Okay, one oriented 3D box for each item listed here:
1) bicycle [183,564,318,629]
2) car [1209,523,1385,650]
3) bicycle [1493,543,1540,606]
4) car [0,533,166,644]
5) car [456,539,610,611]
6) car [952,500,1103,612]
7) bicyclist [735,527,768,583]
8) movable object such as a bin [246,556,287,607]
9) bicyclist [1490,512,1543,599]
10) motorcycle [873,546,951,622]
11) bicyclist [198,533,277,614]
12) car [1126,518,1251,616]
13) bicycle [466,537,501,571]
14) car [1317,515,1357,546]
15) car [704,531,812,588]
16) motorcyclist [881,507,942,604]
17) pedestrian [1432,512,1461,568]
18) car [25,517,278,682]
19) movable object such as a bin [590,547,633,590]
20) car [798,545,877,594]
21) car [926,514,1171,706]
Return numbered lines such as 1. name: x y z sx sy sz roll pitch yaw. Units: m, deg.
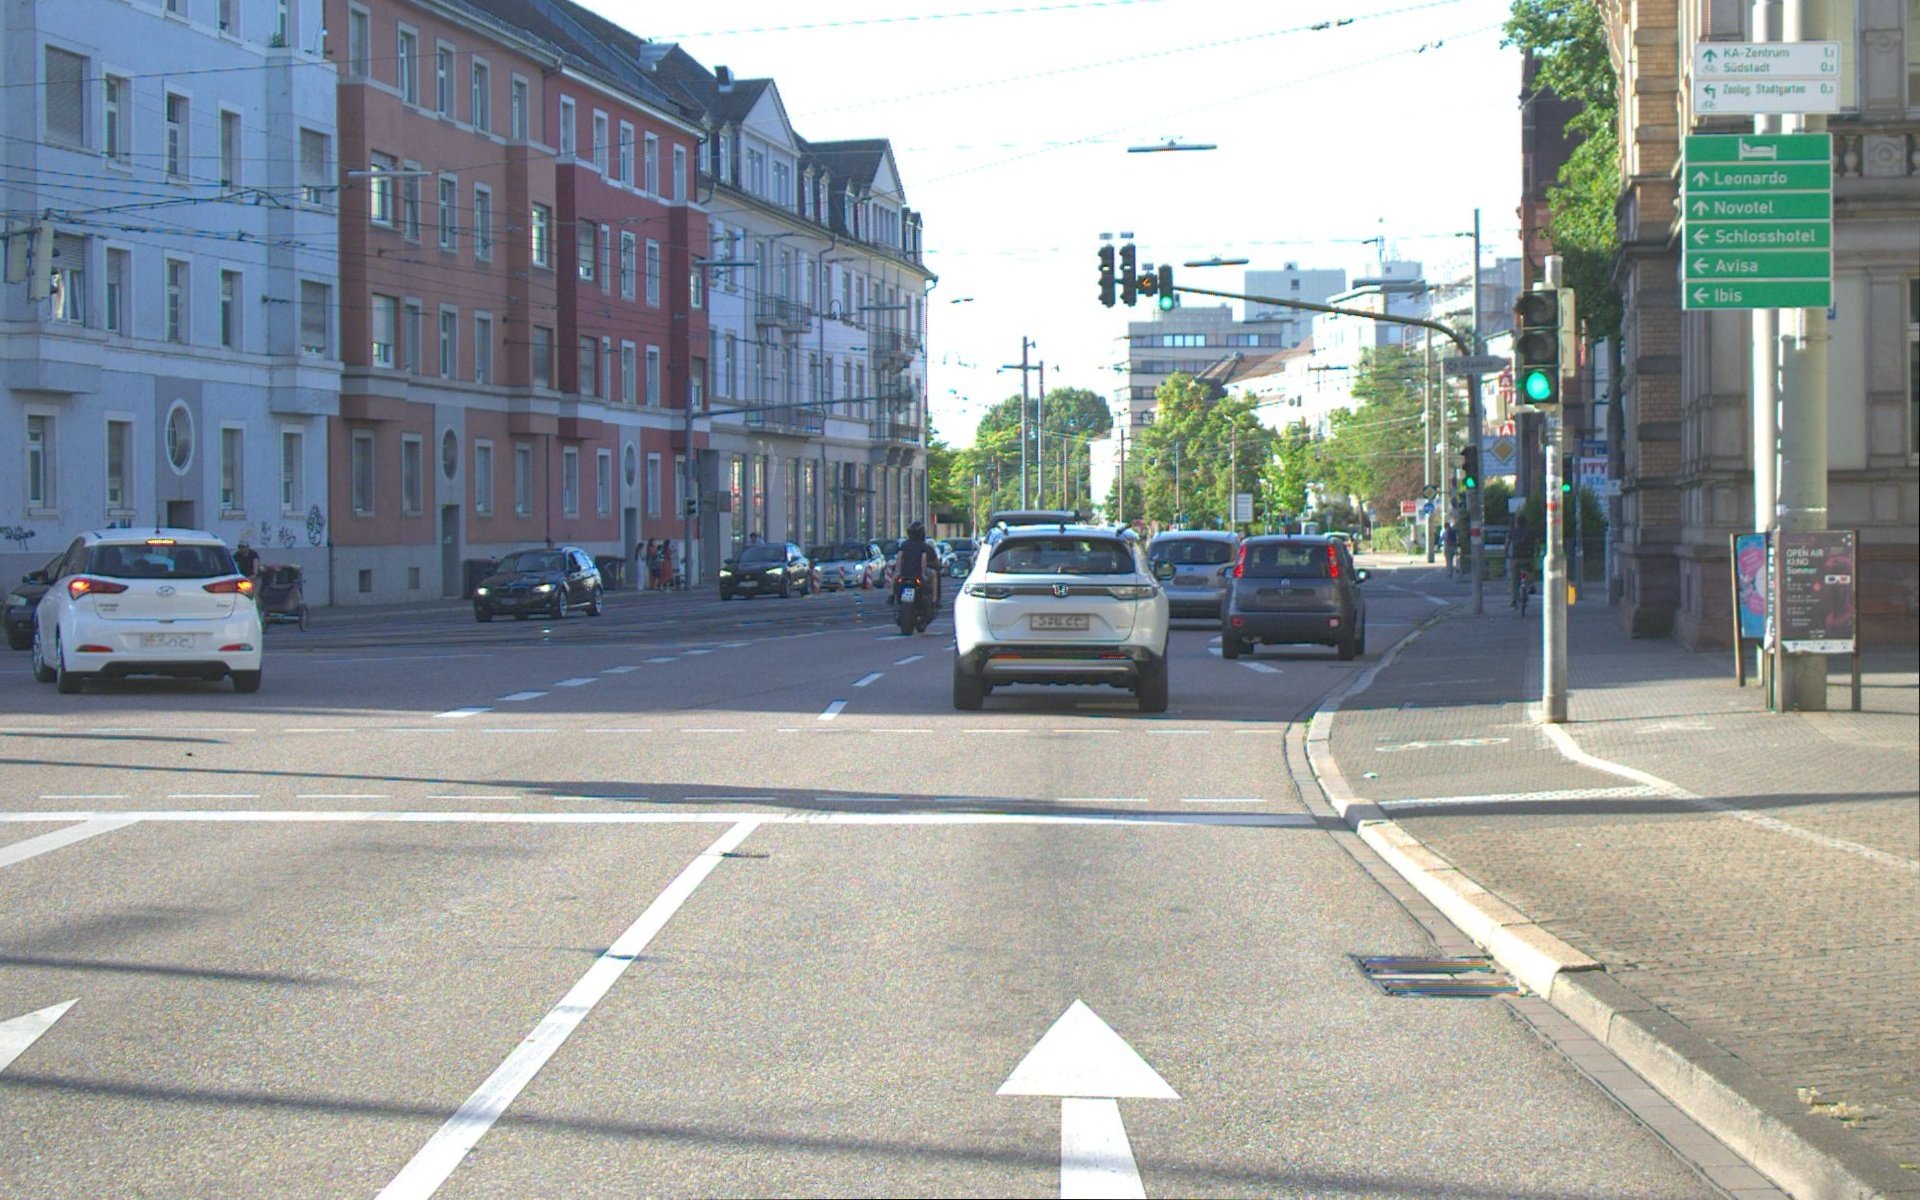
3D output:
1. bicycle: -12.287 -0.081 59.677 0.934 1.052 3.352 0 1 14
2. car: 4.269 -0.204 43.044 1.732 1.495 3.998 0 1 12
3. bicycle: 9.804 -0.456 60.613 0.771 1.082 1.870 0 1 8
4. car: -12.319 -0.189 46.477 1.824 1.421 4.327 0 1 5
5. car: -8.492 -0.517 68.738 1.994 1.387 4.560 0 1 7
6. car: 1.305 -0.837 64.118 2.173 2.002 4.806 0 1 9
7. bicyclist: -6.112 -1.316 100.851 0.746 1.637 1.125 0 1 9
8. movable object such as a bin: -14.947 -0.400 74.096 0.702 1.102 0.582 0 1 10
9. bicyclist: 9.792 -0.786 60.521 0.834 1.520 0.994 0 1 5
10. motorcycle: -0.704 -0.251 51.326 0.777 1.078 2.280 0 1 9
11. bicyclist: -12.420 -0.461 59.125 0.934 1.377 1.147 0 1 14
12. car: 3.866 -0.567 57.588 1.815 1.576 3.999 0 1 8
13. bicycle: -12.374 -1.198 89.360 0.334 0.887 1.603 0 1 13
14. car: 20.423 -3.766 186.085 1.994 1.656 4.496 0 1 8
15. car: -5.227 -1.066 89.620 1.923 1.450 4.496 0 1 9
16. motorcyclist: -0.720 -0.668 51.247 0.777 1.418 0.891 0 1 9
17. pedestrian: 15.749 -1.946 111.197 0.876 1.818 1.184 0 1 10
18. car: -7.402 -0.045 31.223 1.786 1.389 4.107 -1 1 -19
19. movable object such as a bin: -10.336 -0.942 102.078 0.871 1.245 1.232 0 1 15
20. car: -3.558 -0.900 100.505 1.726 1.370 3.533 0 1 8
21. car: 0.795 0.029 29.451 1.948 1.523 4.090 0 1 3
